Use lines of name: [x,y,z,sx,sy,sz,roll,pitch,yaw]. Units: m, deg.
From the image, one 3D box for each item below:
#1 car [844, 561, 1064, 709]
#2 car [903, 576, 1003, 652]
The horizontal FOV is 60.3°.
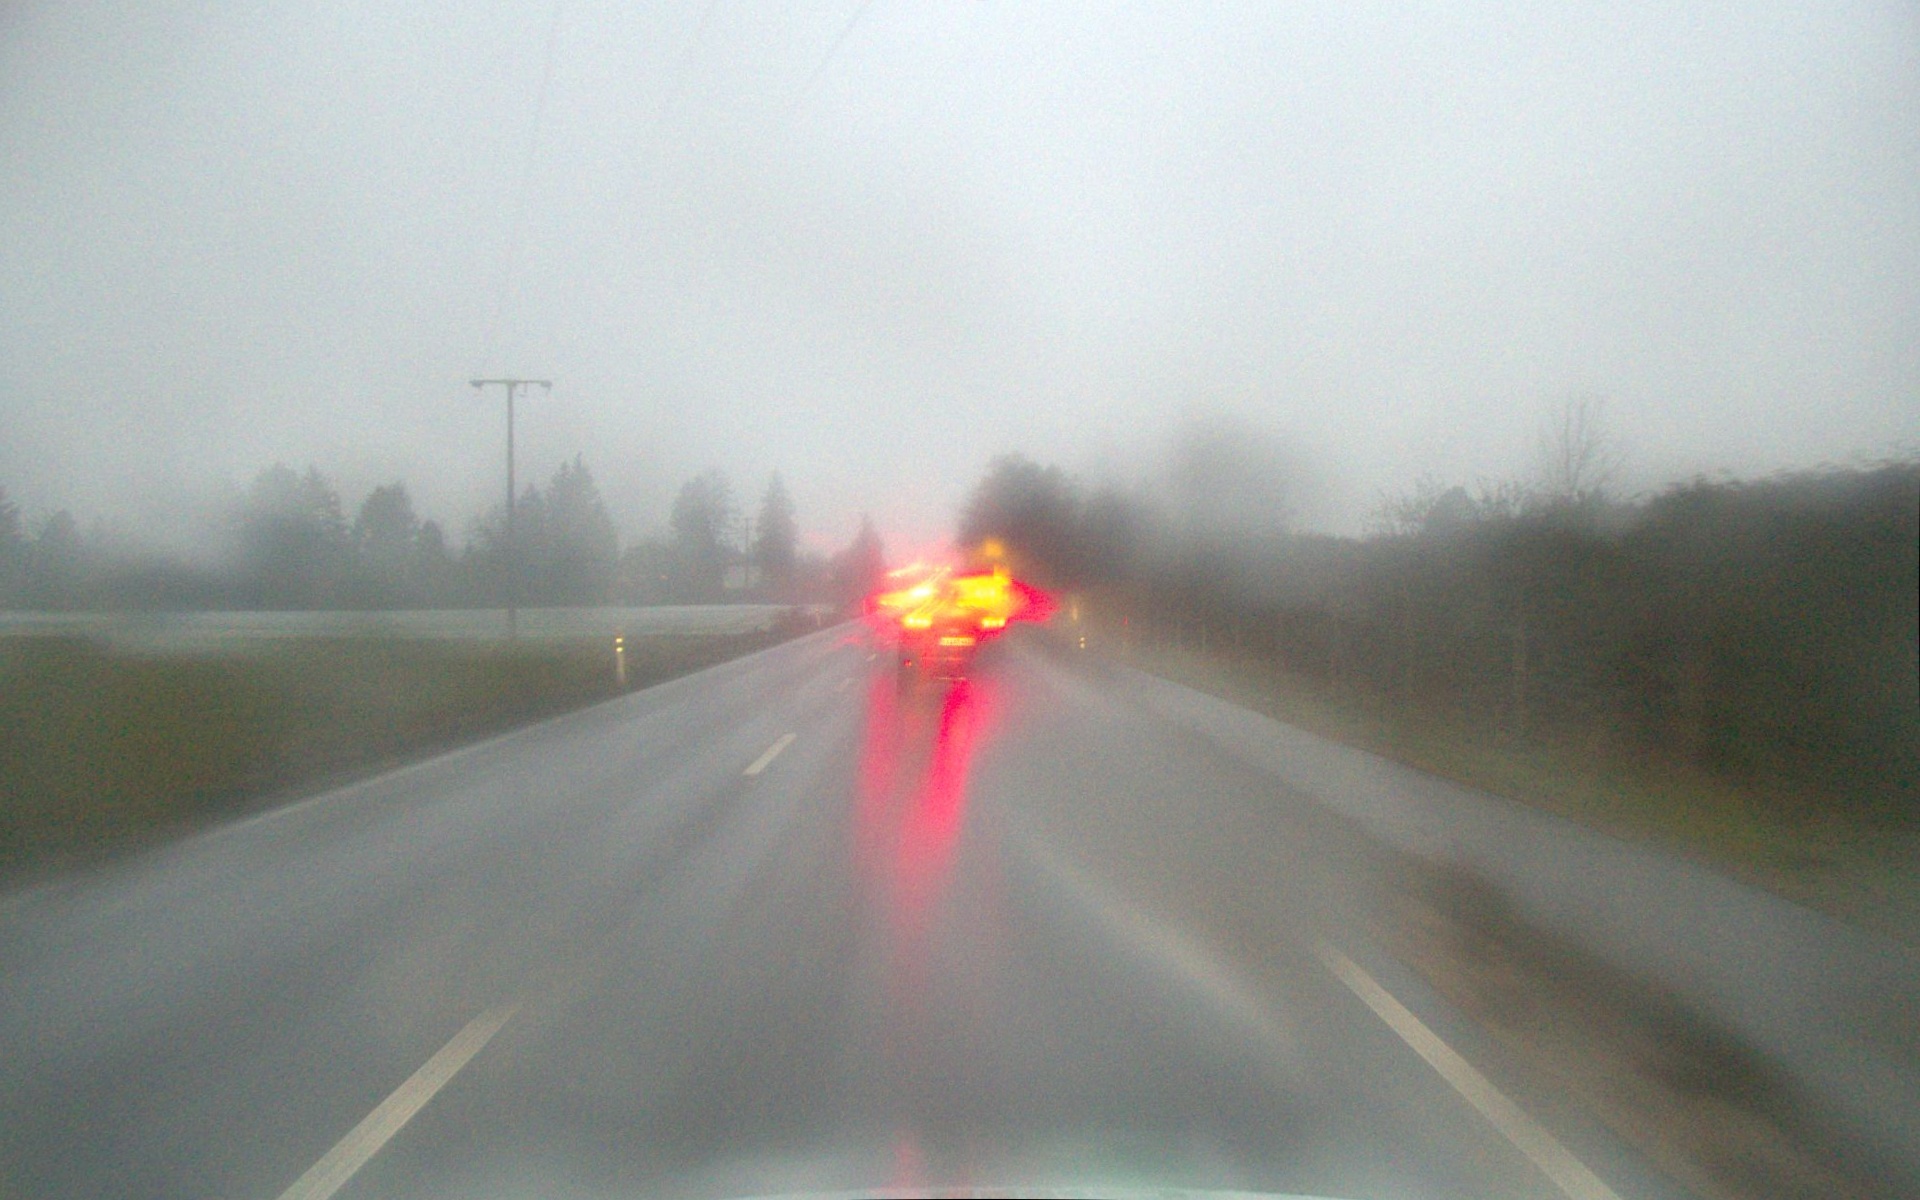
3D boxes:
car: [-0.092,0.466,26.860,3.100,2.071,6.851,-1,0,0]
car: [-0.194,0.367,48.636,2.699,2.071,6.590,-1,0,0]
